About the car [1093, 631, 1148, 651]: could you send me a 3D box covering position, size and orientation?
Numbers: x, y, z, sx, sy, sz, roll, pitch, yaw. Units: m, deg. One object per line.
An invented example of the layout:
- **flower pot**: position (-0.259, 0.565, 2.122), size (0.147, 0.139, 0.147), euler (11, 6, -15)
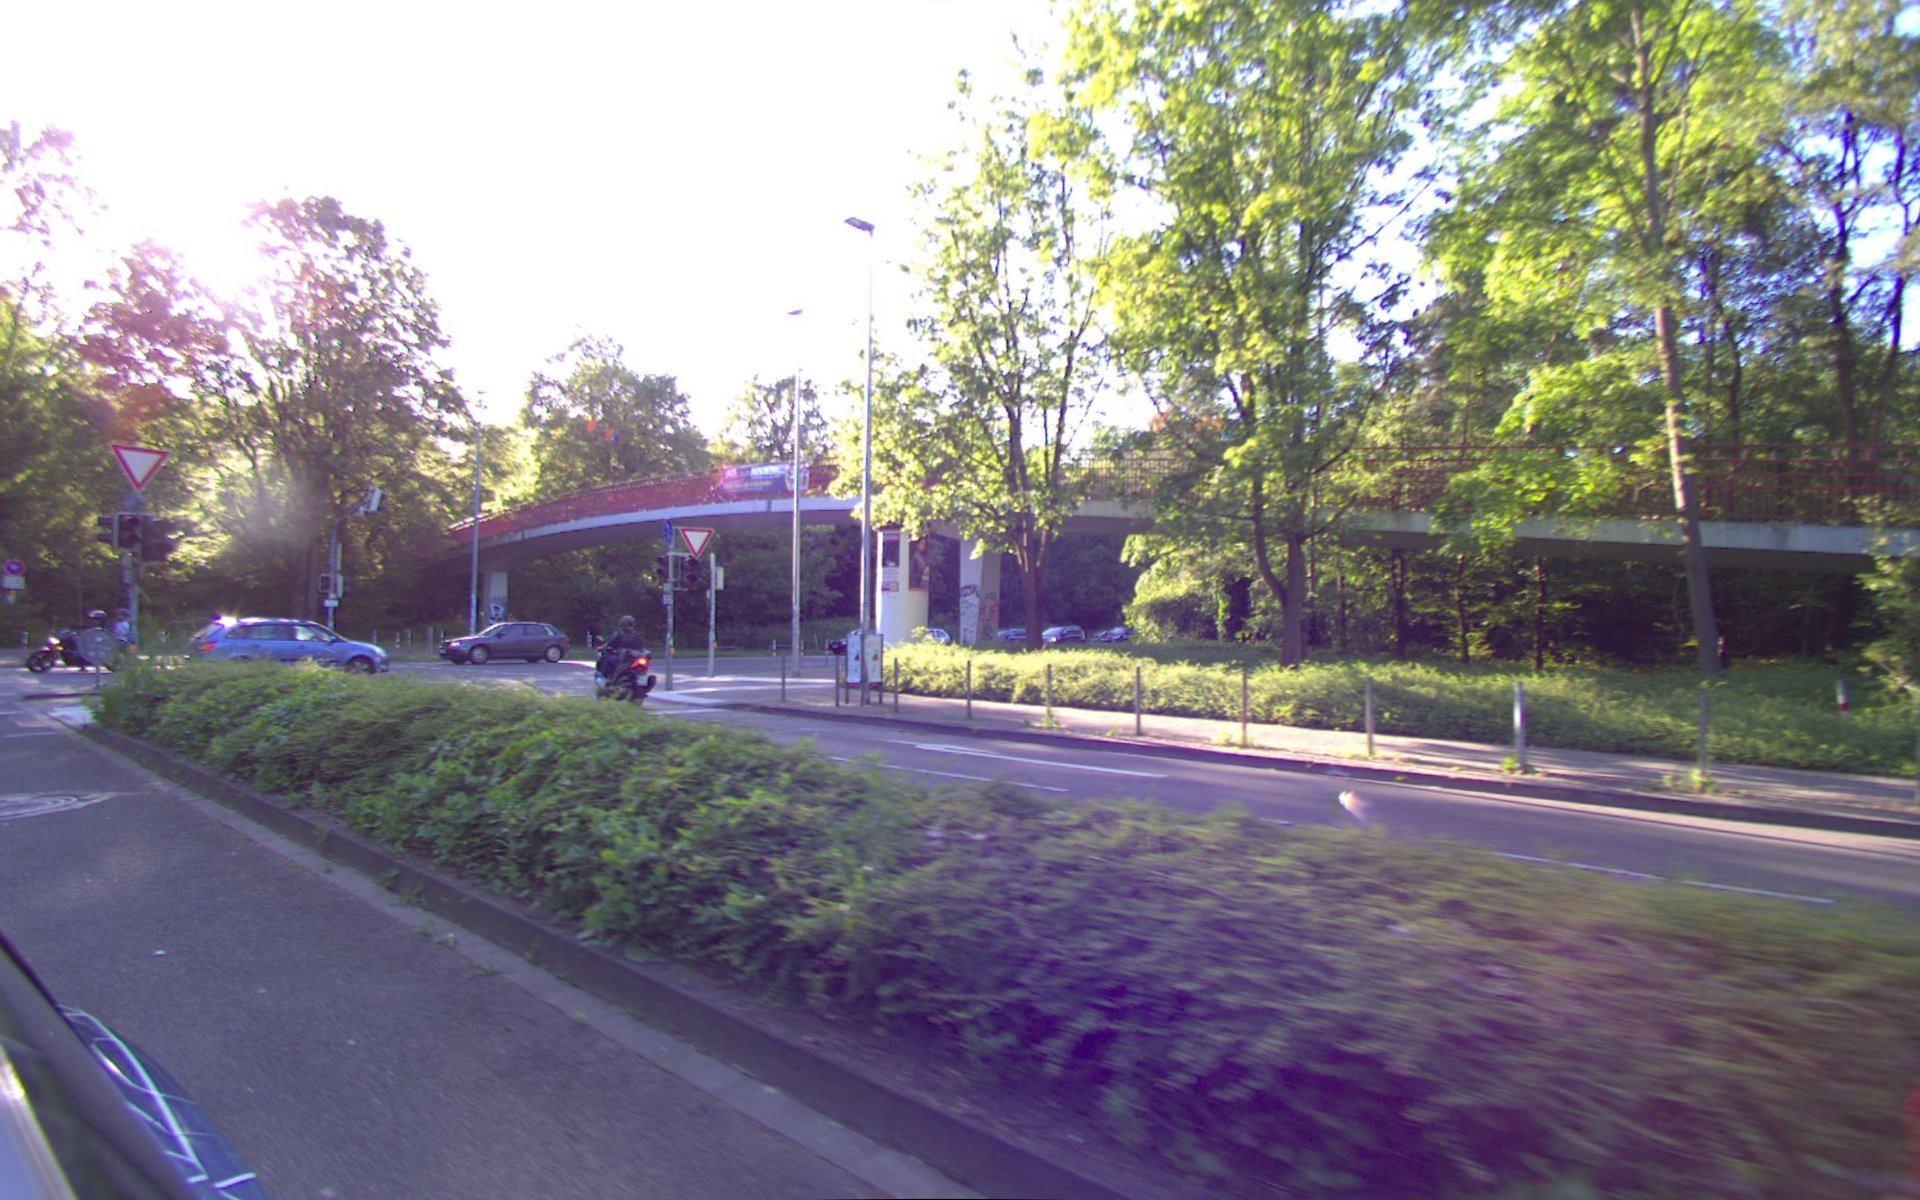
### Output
- **car**: position (10.630, 2.703, 66.919), size (1.737, 1.254, 3.944), euler (-1, -2, 42)

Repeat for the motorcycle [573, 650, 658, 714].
- **motorcycle**: position (-6.447, 1.499, 18.865), size (0.517, 1.077, 2.289), euler (2, -2, -45)

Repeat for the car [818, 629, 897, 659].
- **car**: position (-5.385, 2.320, 53.487), size (1.695, 1.519, 4.068), euler (-1, -2, 42)

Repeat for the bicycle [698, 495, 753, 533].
- **bicycle**: position (-9.518, -3.463, 40.999), size (1.036, 1.383, 2.450), euler (1, 0, -45)

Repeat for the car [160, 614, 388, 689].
- **car**: position (-16.501, 1.207, 24.506), size (1.812, 1.592, 4.258), euler (2, 0, 42)

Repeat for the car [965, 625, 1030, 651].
- **car**: position (2.334, 2.347, 62.231), size (1.738, 1.519, 4.095), euler (0, -1, 42)

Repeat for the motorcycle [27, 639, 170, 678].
- **motorcycle**: position (-21.915, 1.467, 25.807), size (0.807, 0.920, 2.676), euler (-1, -2, 40)

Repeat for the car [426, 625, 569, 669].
- **car**: position (-15.360, 1.546, 33.703), size (3.939, 1.400, 1.871), euler (2, -3, -43)

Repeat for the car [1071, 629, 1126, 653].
- **car**: position (9.699, 2.841, 70.488), size (1.738, 1.519, 4.167), euler (0, -1, 42)

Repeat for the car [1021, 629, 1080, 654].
- **car**: position (5.928, 2.696, 66.016), size (1.705, 1.519, 4.079), euler (0, -1, 42)

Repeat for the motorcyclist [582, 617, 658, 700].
- **motorcyclist**: position (-6.325, 1.059, 18.827), size (1.070, 1.482, 0.937), euler (-1, -2, 45)

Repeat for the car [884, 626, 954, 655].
- **car**: position (-2.284, 2.269, 57.172), size (1.721, 1.519, 3.920), euler (0, -1, 42)

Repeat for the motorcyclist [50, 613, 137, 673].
- **motorcyclist**: position (-21.965, 1.059, 25.667), size (1.138, 1.438, 1.545), euler (-1, 0, 42)
